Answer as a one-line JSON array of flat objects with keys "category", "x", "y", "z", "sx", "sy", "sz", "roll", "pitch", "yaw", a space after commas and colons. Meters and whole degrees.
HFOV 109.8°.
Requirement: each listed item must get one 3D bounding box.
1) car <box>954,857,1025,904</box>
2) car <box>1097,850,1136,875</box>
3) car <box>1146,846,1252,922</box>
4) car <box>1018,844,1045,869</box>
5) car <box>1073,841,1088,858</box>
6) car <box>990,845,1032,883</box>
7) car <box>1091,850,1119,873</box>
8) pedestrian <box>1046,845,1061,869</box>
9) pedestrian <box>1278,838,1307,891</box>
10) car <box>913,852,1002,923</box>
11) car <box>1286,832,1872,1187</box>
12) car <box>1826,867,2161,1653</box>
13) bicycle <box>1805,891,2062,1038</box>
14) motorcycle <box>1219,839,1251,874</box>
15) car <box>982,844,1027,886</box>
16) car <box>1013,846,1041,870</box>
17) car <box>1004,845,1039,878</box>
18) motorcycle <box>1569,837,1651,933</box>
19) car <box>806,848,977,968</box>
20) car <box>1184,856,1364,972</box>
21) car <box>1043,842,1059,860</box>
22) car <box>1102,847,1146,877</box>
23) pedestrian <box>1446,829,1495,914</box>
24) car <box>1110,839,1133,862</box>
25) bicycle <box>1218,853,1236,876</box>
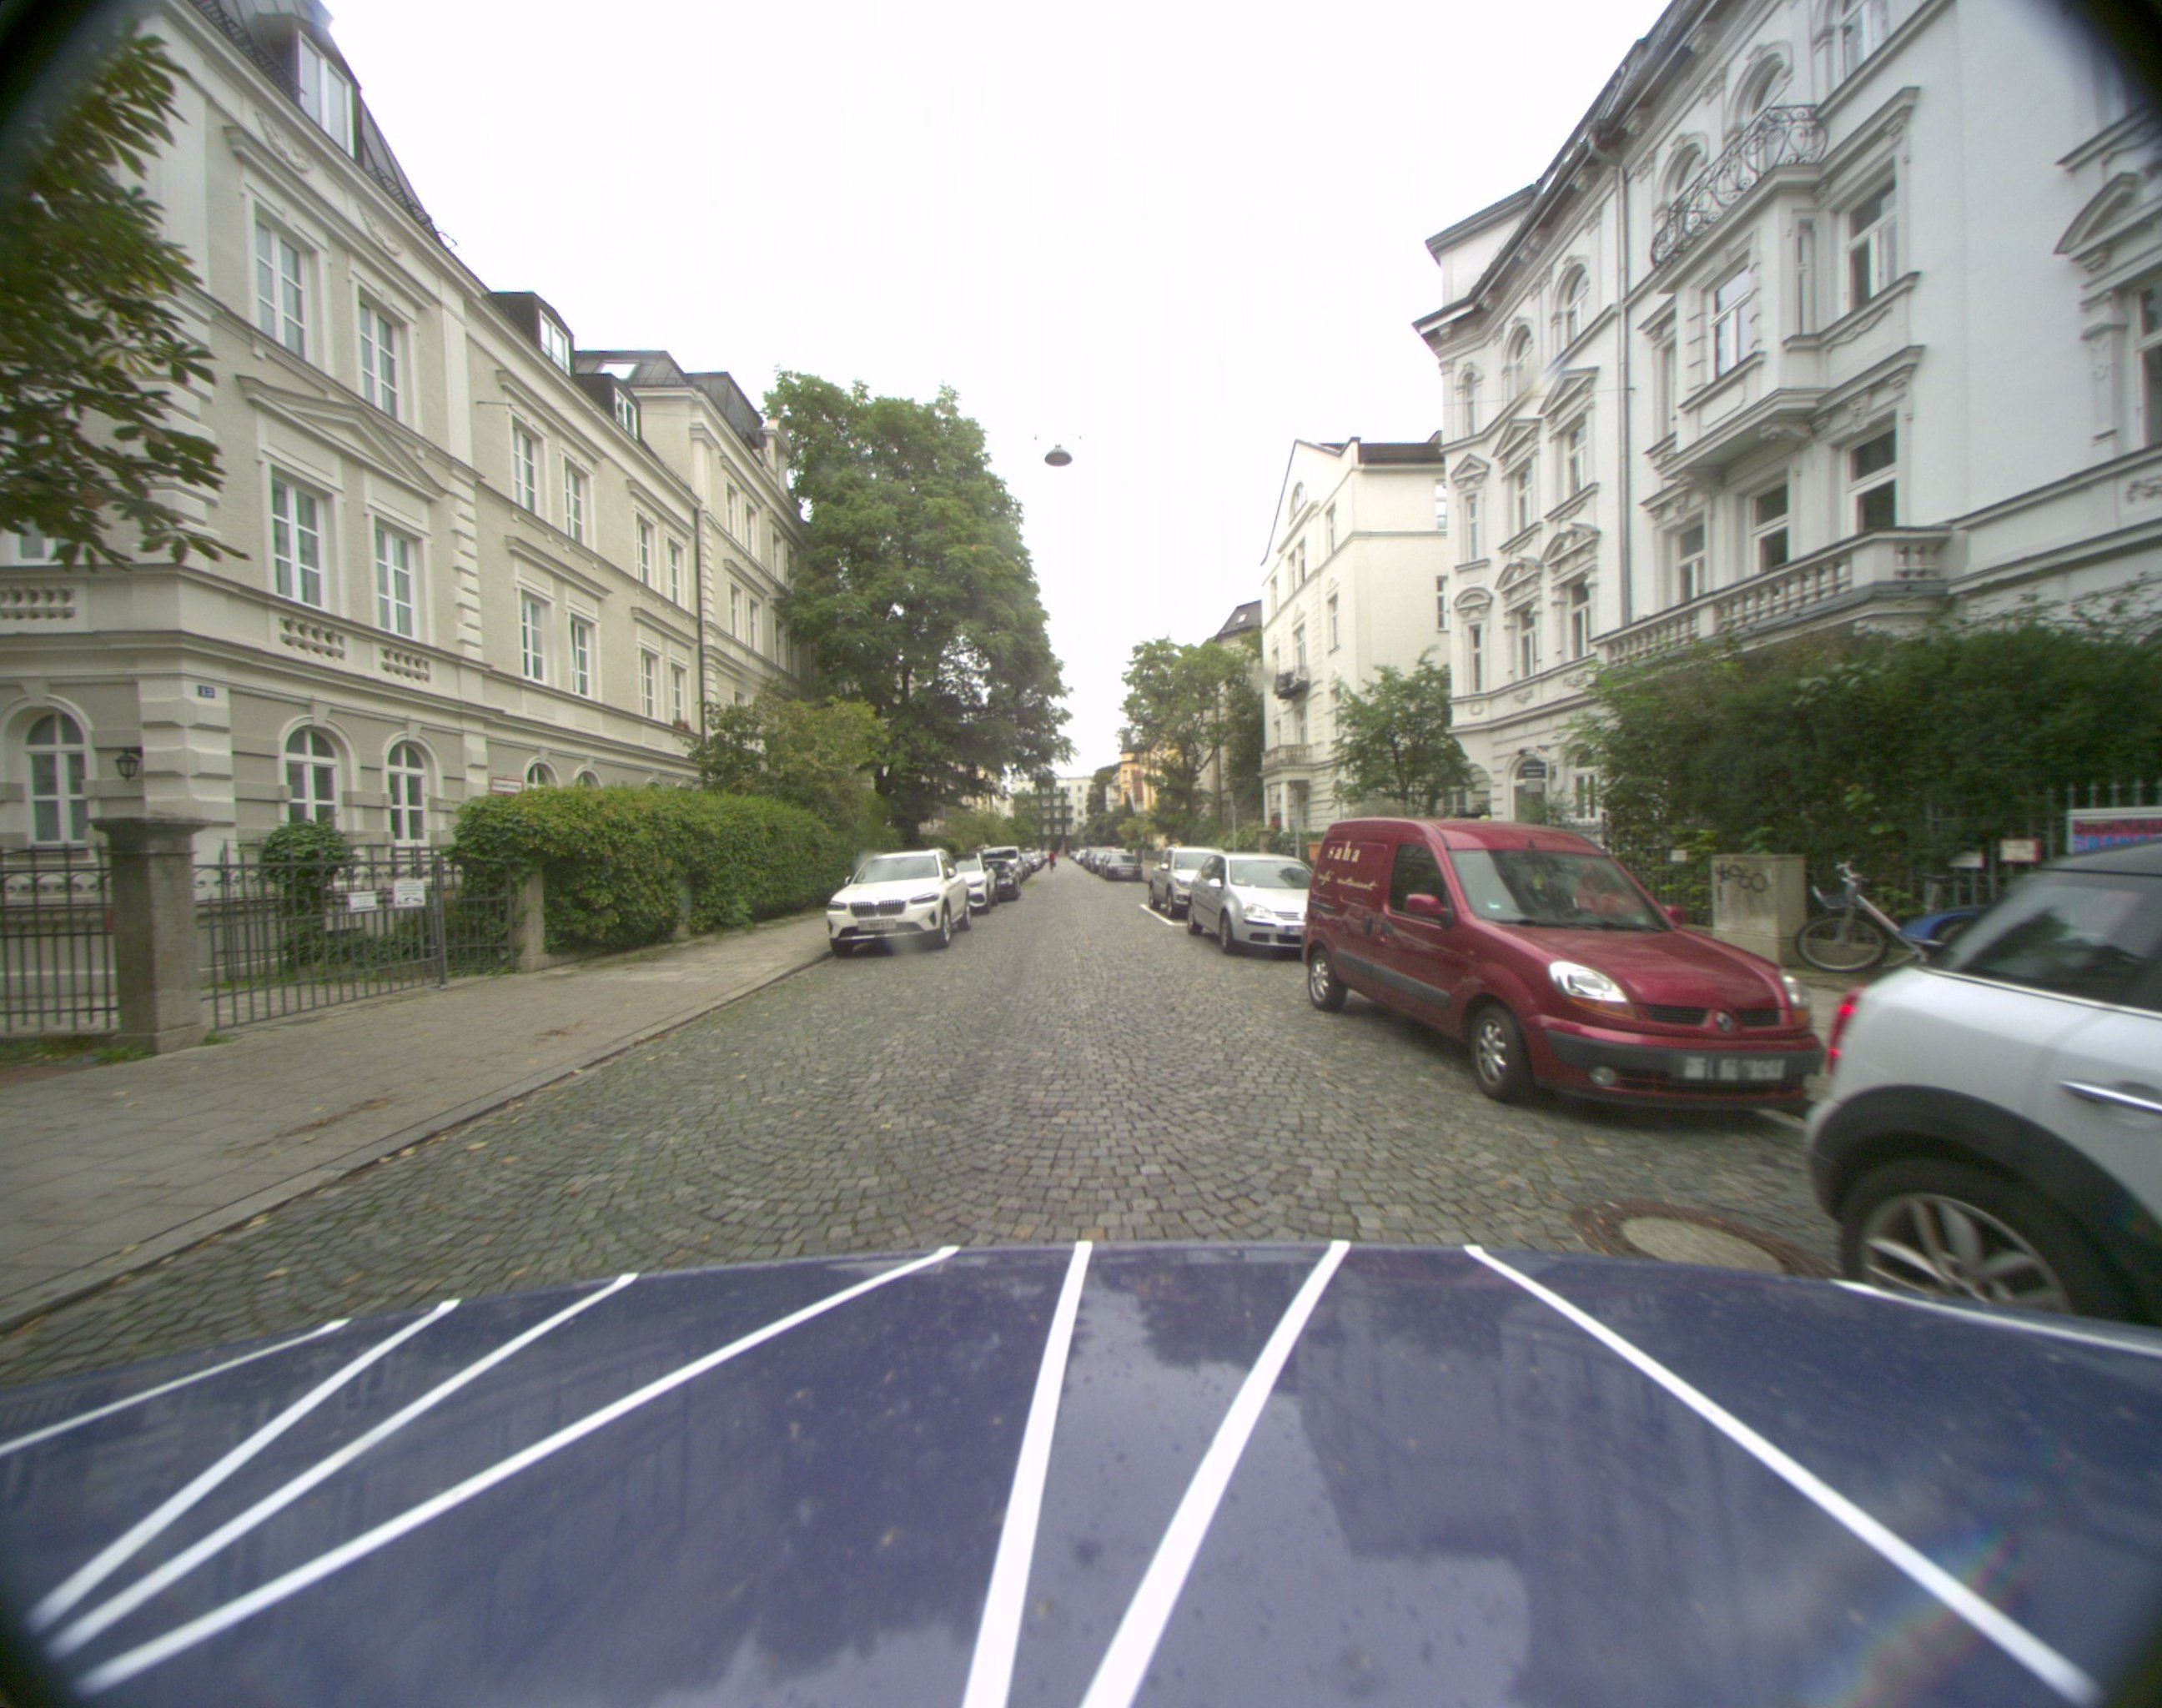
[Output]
[{"category": "car", "x": -2.977, "y": 0.824, "z": 25.745, "sx": 1.924, "sy": 1.291, "sz": 4.807, "roll": -2, "pitch": 1, "yaw": -2}, {"category": "car", "x": 2.053, "y": 0.444, "z": 45.062, "sx": 1.999, "sy": 1.324, "sz": 3.999, "roll": -2, "pitch": 1, "yaw": -1}, {"category": "car", "x": 2.678, "y": 0.618, "z": 18.118, "sx": 1.694, "sy": 1.563, "sz": 4.066, "roll": 0, "pitch": 1, "yaw": -3}, {"category": "car", "x": -4.249, "y": 0.198, "z": 65.466, "sx": 1.999, "sy": 2.002, "sz": 3.999, "roll": -2, "pitch": 1, "yaw": -1}, {"category": "car", "x": -0.082, "y": -0.588, "z": 92.796, "sx": 1.791, "sy": 2.002, "sz": 3.214, "roll": -2, "pitch": 1, "yaw": -1}, {"category": "car", "x": -3.965, "y": 0.548, "z": 43.774, "sx": 1.999, "sy": 2.002, "sz": 3.999, "roll": -2, "pitch": 1, "yaw": -1}, {"category": "car", "x": 1.606, "y": 0.469, "z": 52.612, "sx": 1.714, "sy": 1.417, "sz": 3.999, "roll": -2, "pitch": 1, "yaw": -1}, {"category": "pedestrian", "x": -2.155, "y": 0.222, "z": 60.105, "sx": 1.105, "sy": 1.768, "sz": 1.263, "roll": -2, "pitch": 2, "yaw": -1}, {"category": "pedestrian", "x": 6.659, "y": 0.317, "z": 23.911, "sx": 0.665, "sy": 1.618, "sz": 0.670, "roll": -1, "pitch": 2, "yaw": 31}, {"category": "car", "x": -3.222, "y": 0.809, "z": 20.630, "sx": 1.752, "sy": 1.591, "sz": 4.470, "roll": -2, "pitch": 1, "yaw": -2}, {"category": "car", "x": 2.947, "y": 0.719, "z": 5.644, "sx": 1.722, "sy": 1.713, "sz": 3.897, "roll": 0, "pitch": 1, "yaw": -1}, {"category": "car", "x": 2.922, "y": 0.826, "z": 0.259, "sx": 1.697, "sy": 1.495, "sz": 3.776, "roll": -2, "pitch": 1, "yaw": 1}, {"category": "bicycle", "x": 7.483, "y": 0.905, "z": 6.792, "sx": 0.258, "sy": 1.072, "sz": 1.685, "roll": -2, "pitch": 0, "yaw": -5}, {"category": "motorcycle", "x": 6.642, "y": 0.087, "z": 32.835, "sx": 0.738, "sy": 1.420, "sz": 2.244, "roll": -3, "pitch": 1, "yaw": -4}, {"category": "car", "x": -3.775, "y": 0.490, "z": 38.179, "sx": 1.819, "sy": 1.809, "sz": 4.807, "roll": -5, "pitch": 1, "yaw": -2}, {"category": "car", "x": -4.259, "y": 0.295, "z": 60.495, "sx": 1.999, "sy": 1.705, "sz": 3.999, "roll": -2, "pitch": 1, "yaw": -1}, {"category": "car", "x": -3.904, "y": 0.478, "z": 50.446, "sx": 1.999, "sy": 2.002, "sz": 3.999, "roll": -2, "pitch": 1, "yaw": -1}, {"category": "motorcycle", "x": 7.041, "y": 0.369, "z": 10.174, "sx": 0.331, "sy": 1.173, "sz": 1.626, "roll": -1, "pitch": 1, "yaw": 14}, {"category": "car", "x": -3.163, "y": 0.802, "z": 13.773, "sx": 1.925, "sy": 1.676, "sz": 4.632, "roll": -2, "pitch": 2, "yaw": -1}, {"category": "car", "x": 2.796, "y": 0.794, "z": 11.863, "sx": 1.636, "sy": 1.386, "sz": 3.814, "roll": -2, "pitch": 1, "yaw": -3}, {"category": "car", "x": -3.484, "y": -0.363, "z": 89.359, "sx": 1.763, "sy": 2.002, "sz": 3.999, "roll": -2, "pitch": 1, "yaw": -1}, {"category": "car", "x": 2.182, "y": 0.372, "z": 40.170, "sx": 1.886, "sy": 1.411, "sz": 4.807, "roll": 0, "pitch": 1, "yaw": -2}, {"category": "pedestrian", "x": 7.698, "y": 0.332, "z": 15.047, "sx": 0.577, "sy": 1.638, "sz": 0.821, "roll": -2, "pitch": 2, "yaw": 5}, {"category": "car", "x": 3.690, "y": -0.367, "z": 69.929, "sx": 1.763, "sy": 2.002, "sz": 3.999, "roll": -2, "pitch": 1, "yaw": -1}, {"category": "bicycle", "x": 6.812, "y": 0.474, "z": 35.485, "sx": 0.357, "sy": 1.044, "sz": 1.743, "roll": -2, "pitch": 1, "yaw": -4}]
